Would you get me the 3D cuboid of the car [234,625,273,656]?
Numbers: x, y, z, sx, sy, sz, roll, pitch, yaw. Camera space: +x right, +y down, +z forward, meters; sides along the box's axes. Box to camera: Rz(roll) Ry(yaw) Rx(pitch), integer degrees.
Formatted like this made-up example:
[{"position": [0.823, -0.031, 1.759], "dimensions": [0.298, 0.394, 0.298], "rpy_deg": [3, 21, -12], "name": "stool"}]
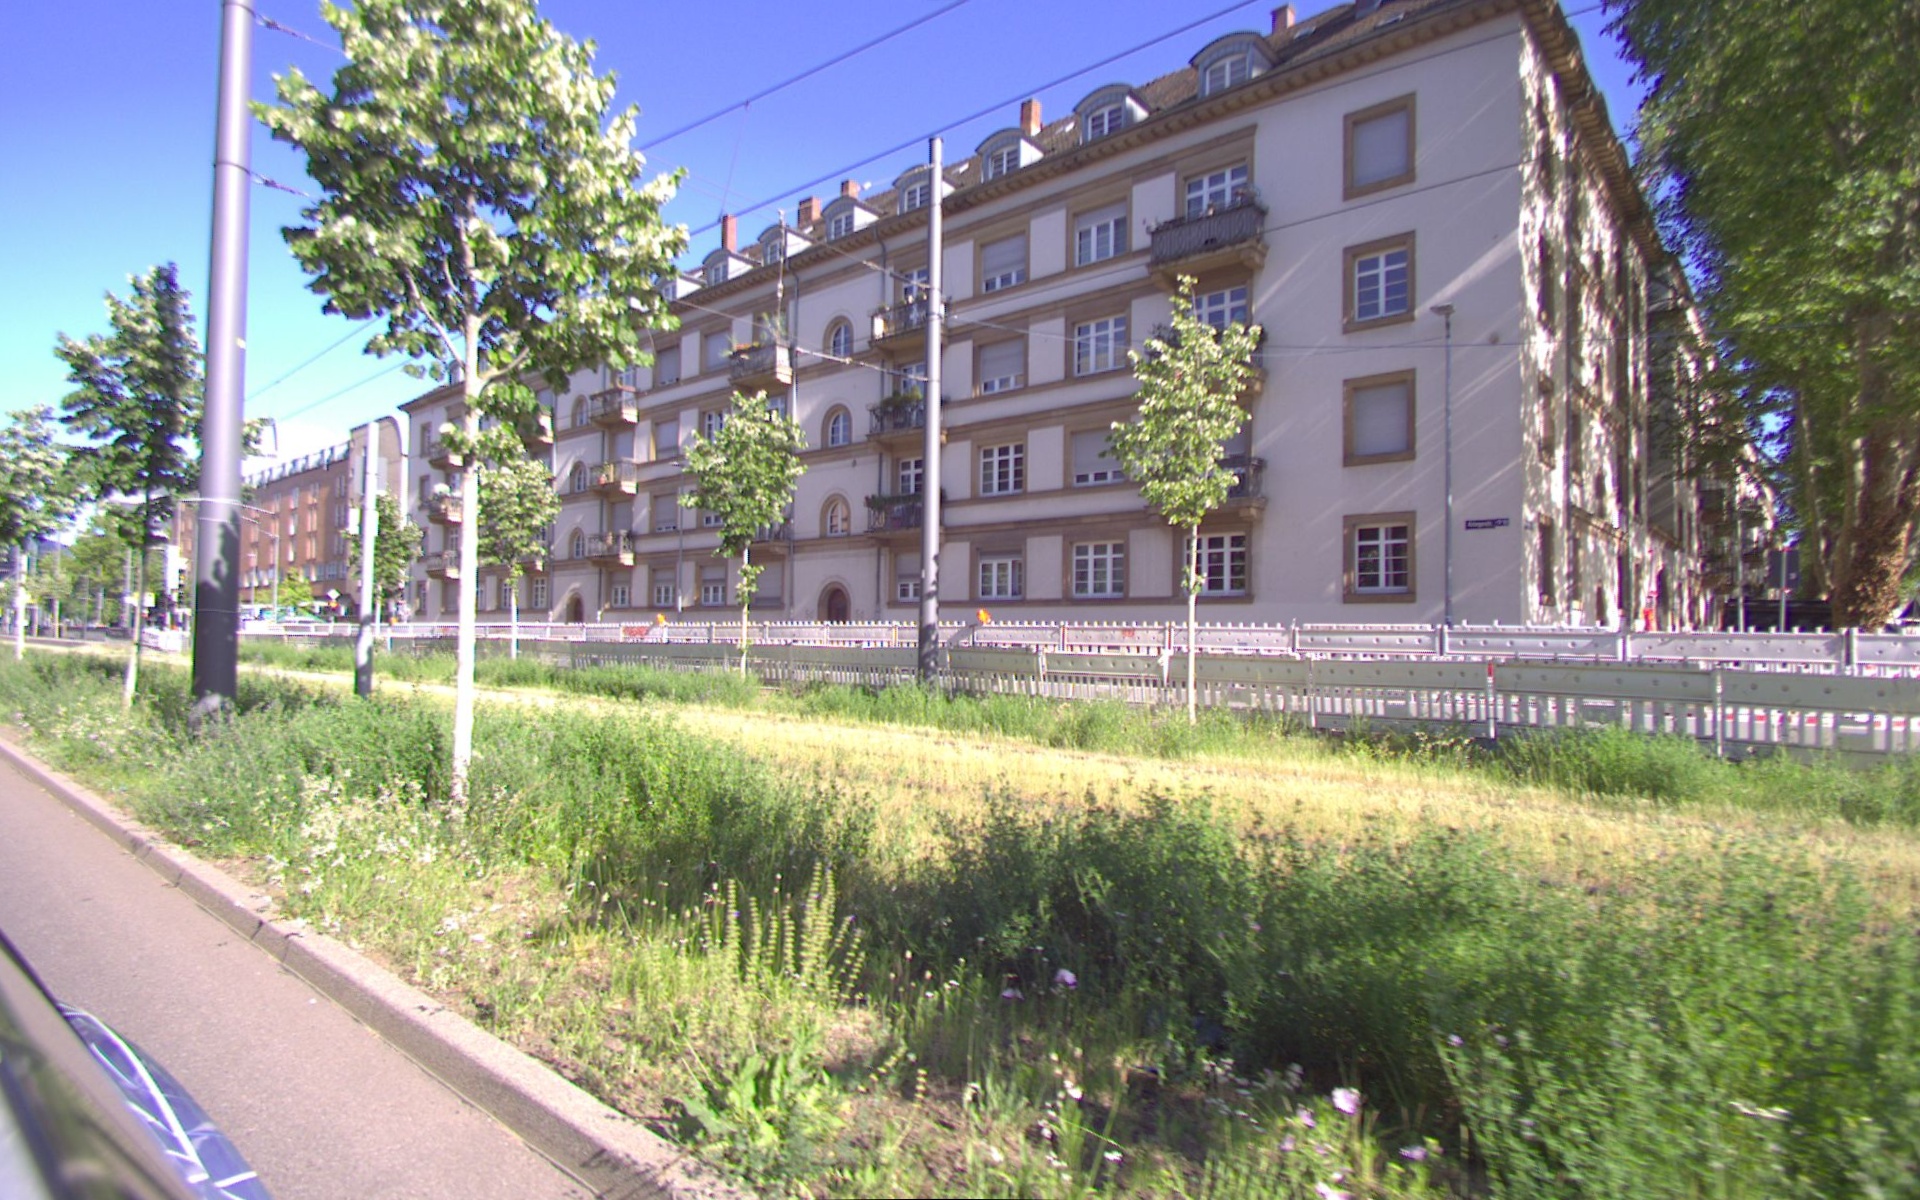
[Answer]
[{"position": [-56.957, 3.215, 81.567], "dimensions": [1.969, 2.314, 5.196], "rpy_deg": [1, -1, -41], "name": "car"}]
